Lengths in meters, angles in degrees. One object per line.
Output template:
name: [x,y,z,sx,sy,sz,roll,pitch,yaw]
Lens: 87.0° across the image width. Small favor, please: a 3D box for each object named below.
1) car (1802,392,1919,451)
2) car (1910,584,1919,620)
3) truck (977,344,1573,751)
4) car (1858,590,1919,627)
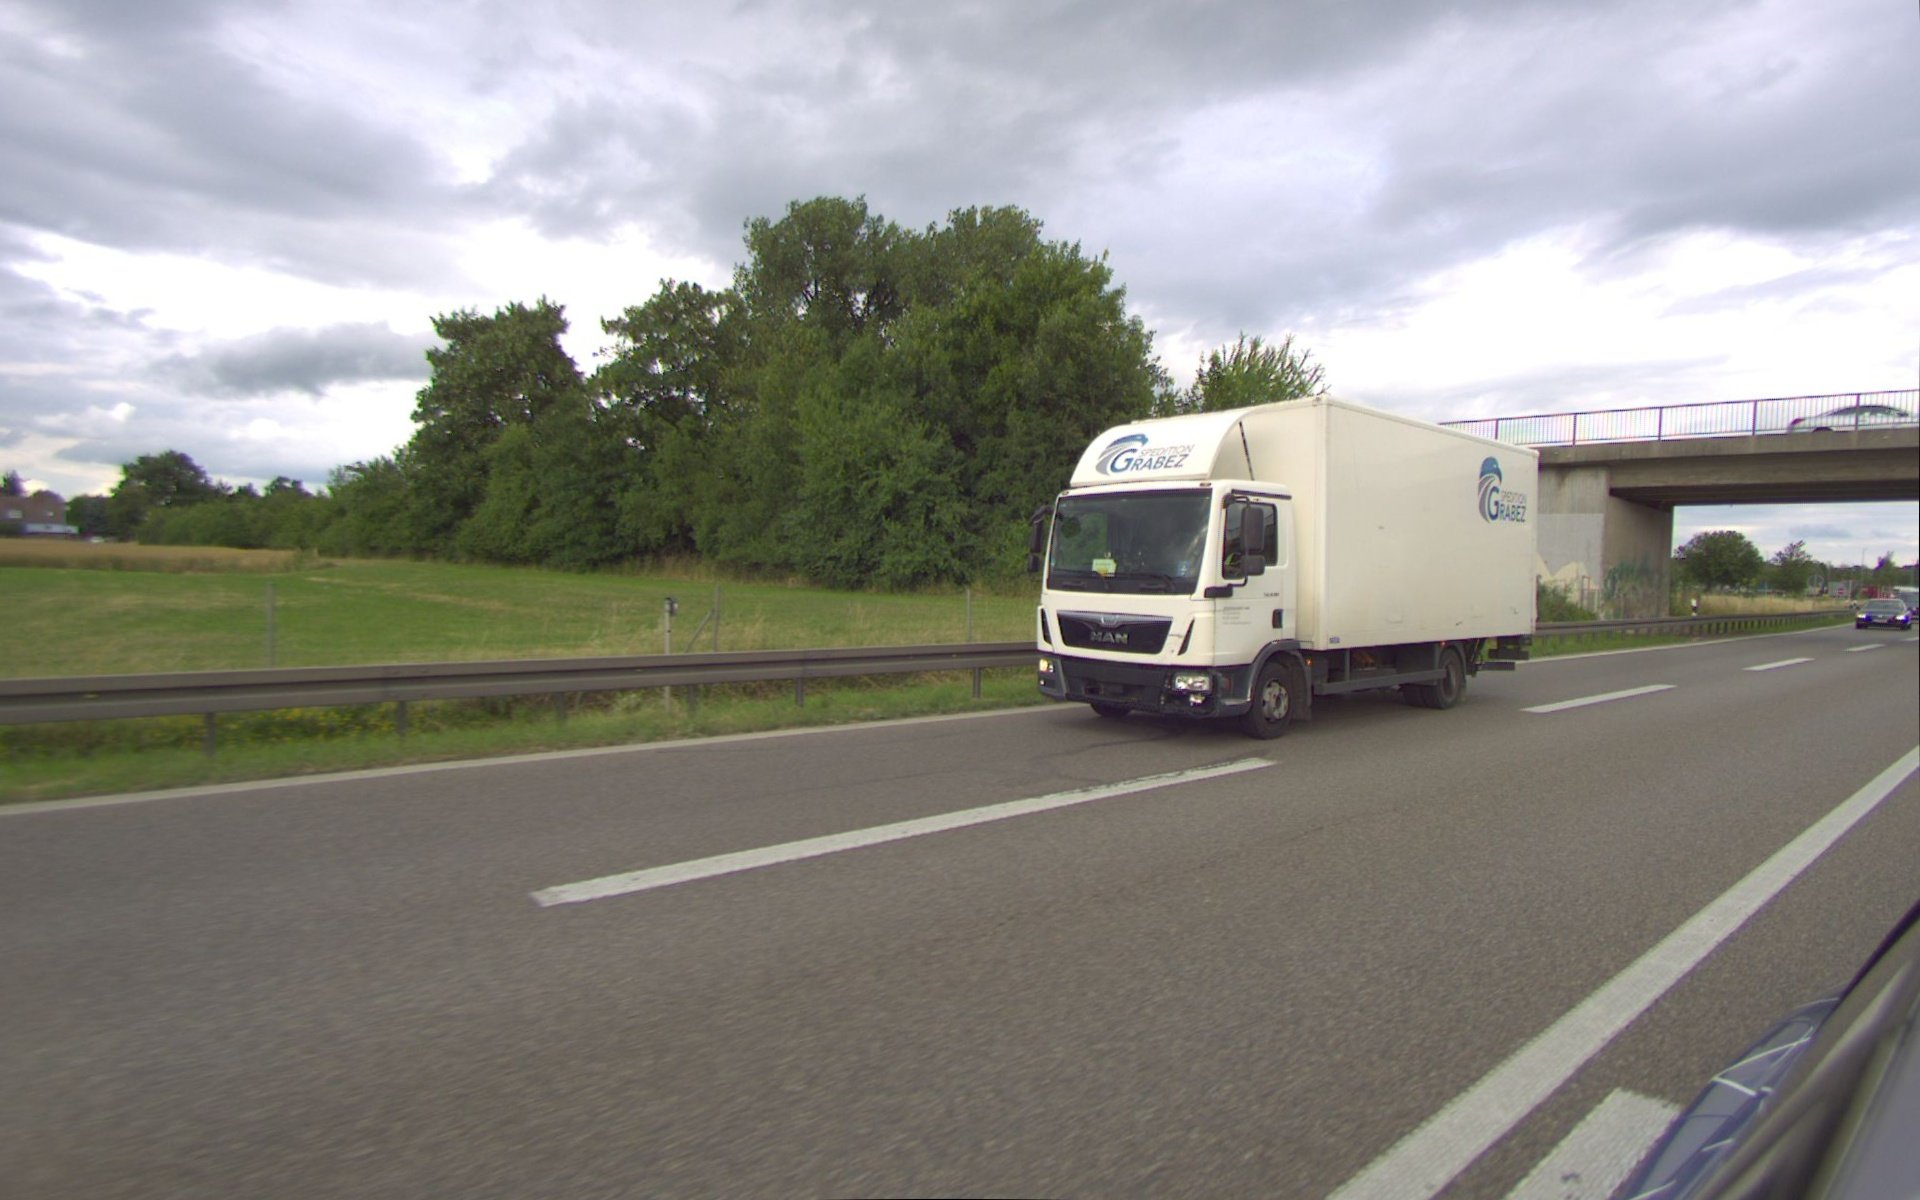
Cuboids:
car: [29.395,-5.737,32.668,3.322,1.465,1.639,2,1,38]
car: [59.243,0.133,61.376,4.876,2.089,2.145,0,1,-44]
truck: [4.482,-0.479,12.788,8.736,3.514,3.109,0,0,-41]
car: [44.393,0.377,48.094,4.838,1.569,1.921,0,2,-41]
